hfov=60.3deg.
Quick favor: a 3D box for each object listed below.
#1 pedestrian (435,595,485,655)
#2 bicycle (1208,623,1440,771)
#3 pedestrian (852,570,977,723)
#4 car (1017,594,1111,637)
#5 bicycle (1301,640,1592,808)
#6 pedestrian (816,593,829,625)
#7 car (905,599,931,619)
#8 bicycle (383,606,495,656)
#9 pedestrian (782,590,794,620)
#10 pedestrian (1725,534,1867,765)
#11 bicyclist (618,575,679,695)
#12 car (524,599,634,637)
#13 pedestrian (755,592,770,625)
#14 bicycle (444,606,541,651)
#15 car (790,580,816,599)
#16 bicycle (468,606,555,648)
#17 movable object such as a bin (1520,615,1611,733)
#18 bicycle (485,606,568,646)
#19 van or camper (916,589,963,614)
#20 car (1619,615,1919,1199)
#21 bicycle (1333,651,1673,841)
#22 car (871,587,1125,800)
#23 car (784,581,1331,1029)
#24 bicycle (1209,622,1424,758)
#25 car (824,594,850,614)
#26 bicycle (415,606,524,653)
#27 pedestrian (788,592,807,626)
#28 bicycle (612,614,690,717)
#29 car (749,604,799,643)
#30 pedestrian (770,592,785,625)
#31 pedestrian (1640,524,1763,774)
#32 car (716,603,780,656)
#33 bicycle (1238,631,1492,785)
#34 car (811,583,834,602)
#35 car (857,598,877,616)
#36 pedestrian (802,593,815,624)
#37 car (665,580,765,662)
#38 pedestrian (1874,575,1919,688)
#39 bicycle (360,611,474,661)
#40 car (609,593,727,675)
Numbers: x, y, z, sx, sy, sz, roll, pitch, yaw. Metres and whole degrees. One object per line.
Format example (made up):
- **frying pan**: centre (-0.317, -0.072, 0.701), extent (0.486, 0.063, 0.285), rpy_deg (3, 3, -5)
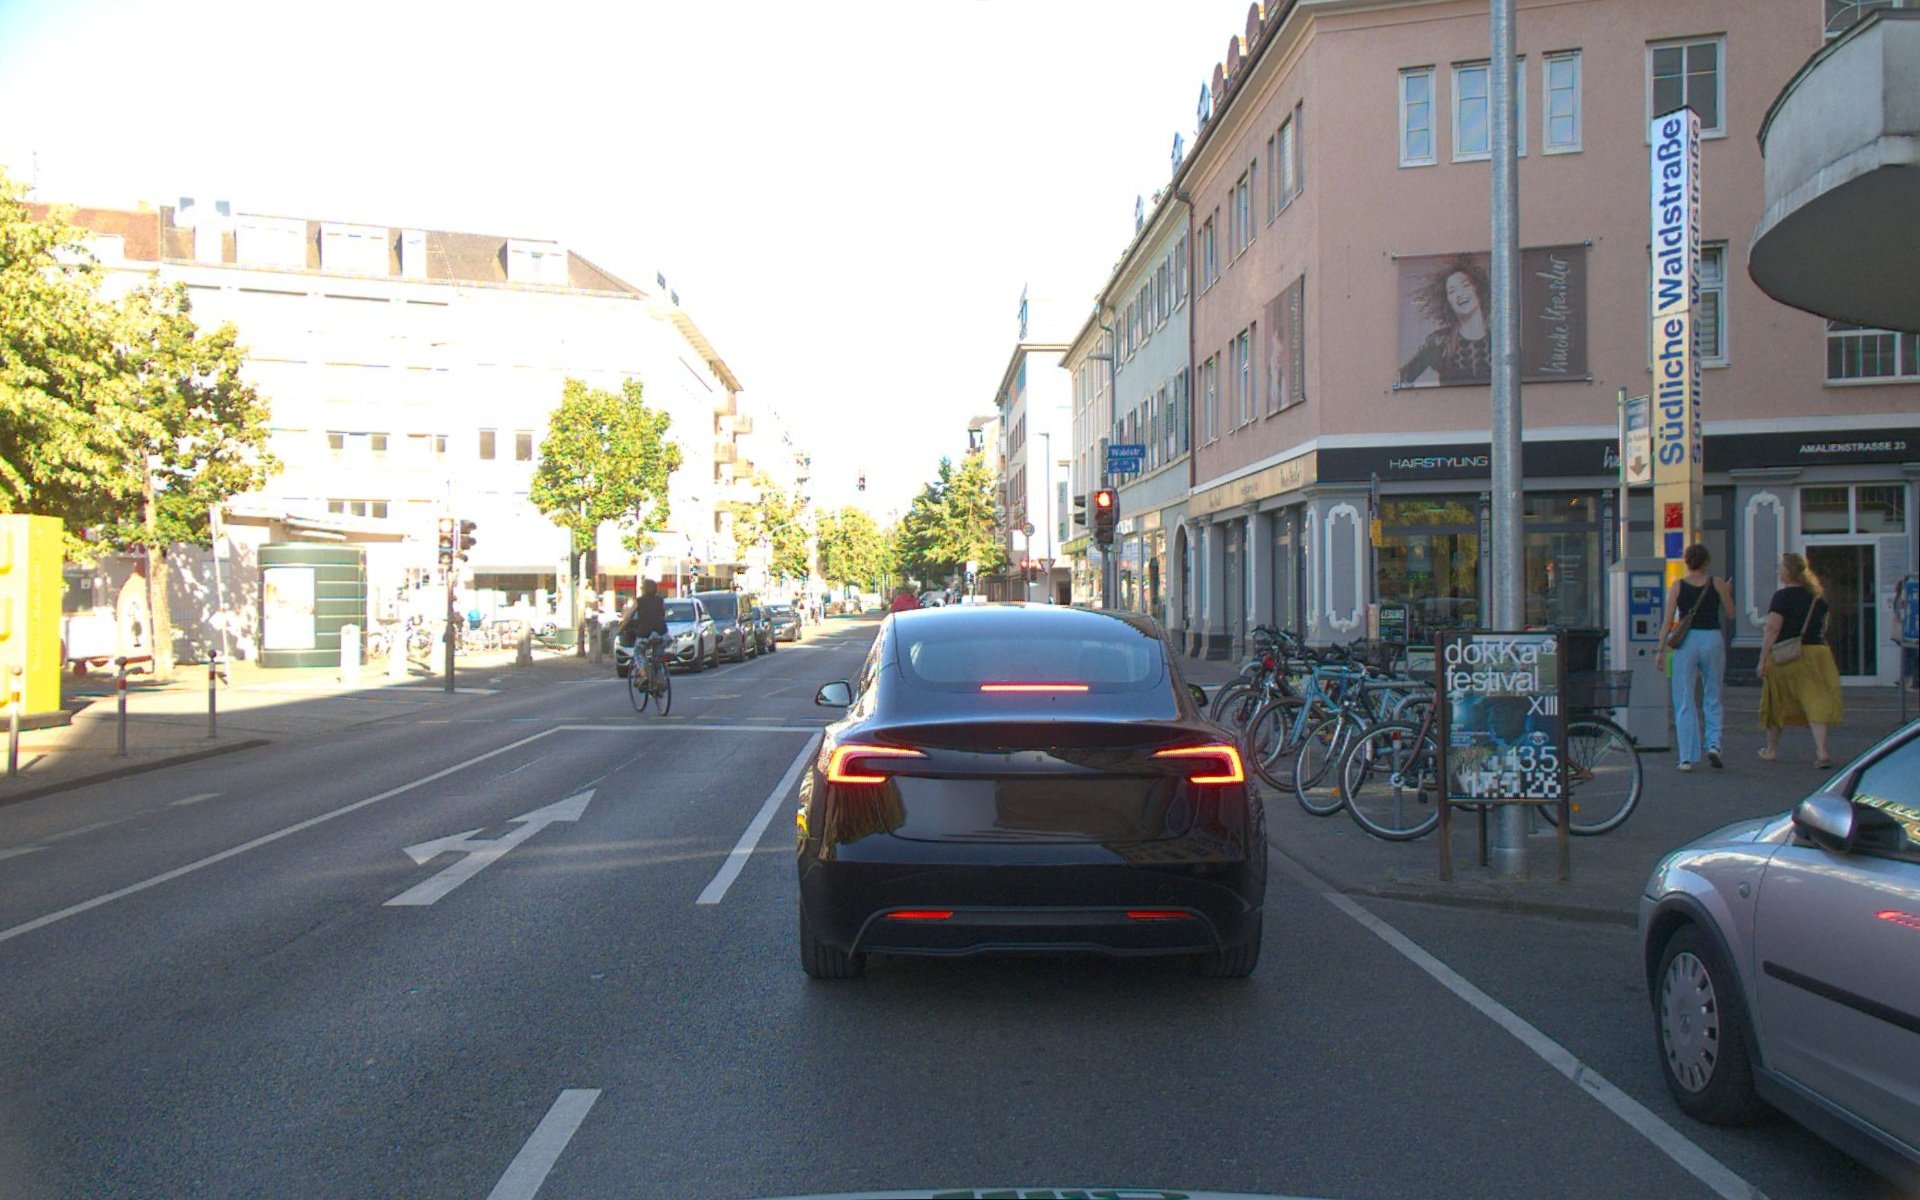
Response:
- **pedestrian**: centre (-14.041, 0.698, 46.466), extent (1.081, 1.639, 1.254), rpy_deg (1, -1, -29)
- **bicycle**: centre (2.978, 0.782, 13.633), extent (1.776, 1.172, 0.653), rpy_deg (0, 0, 0)
- **pedestrian**: centre (-0.534, 0.538, 19.784), extent (1.089, 1.750, 1.060), rpy_deg (1, -1, 30)
- **car**: centre (4.712, 0.703, 74.734), extent (3.937, 1.900, 1.686), rpy_deg (0, 0, -22)
- **bicycle**: centre (3.250, 0.821, 11.156), extent (1.776, 1.078, 0.653), rpy_deg (0, 0, 0)
- **pedestrian**: centre (-8.229, 0.547, 98.901), extent (0.759, 1.900, 1.007), rpy_deg (1, -1, -7)
- **car**: centre (-3.764, 0.785, 148.568), extent (1.992, 1.819, 4.008), rpy_deg (0, 0, 3)
- **bicycle**: centre (-14.124, 0.843, 44.916), extent (2.725, 1.296, 0.932), rpy_deg (1, 0, -4)
- **pedestrian**: centre (-10.767, 0.314, 103.708), extent (0.681, 1.900, 0.658), rpy_deg (1, -1, -6)
- **pedestrian**: centre (6.768, 0.394, 13.431), extent (0.706, 1.785, 0.788), rpy_deg (-2, -1, 4)
- **bicyclist**: centre (-4.046, 0.447, 21.465), extent (0.597, 1.510, 0.952), rpy_deg (1, -1, -22)
- **car**: centre (-17.487, 0.835, 75.962), extent (4.638, 1.455, 1.722), rpy_deg (-4, 0, -25)
- **pedestrian**: centre (-11.562, 0.480, 96.796), extent (0.721, 1.900, 0.787), rpy_deg (1, -1, -17)
- **bicycle**: centre (-14.009, 0.845, 49.636), extent (2.609, 1.281, 0.942), rpy_deg (1, 0, -4)
- **car**: centre (-17.019, -1.127, 179.399), extent (2.228, 2.049, 4.717), rpy_deg (1, 0, 0)
- **bicycle**: centre (-14.061, 0.850, 51.910), extent (2.491, 1.273, 0.942), rpy_deg (1, 0, -4)
- **movable object such as a bin**: centre (6.042, 0.731, 16.535), extent (0.623, 1.122, 0.728), rpy_deg (-2, 0, 3)
- **bicycle**: centre (-14.227, 0.857, 54.332), extent (2.491, 1.273, 0.942), rpy_deg (1, 0, -4)
- **van or camper**: centre (-2.069, 0.173, 167.513), extent (4.752, 2.481, 1.850), rpy_deg (0, 0, -1)
- **car**: centre (2.921, 0.780, 3.531), extent (1.551, 1.451, 3.579), rpy_deg (1, 0, -1)
- **bicycle**: centre (3.279, 0.874, 10.084), extent (1.844, 1.062, 0.653), rpy_deg (-1, 0, 0)
- **car**: centre (0.243, 0.685, 14.189), extent (1.812, 1.507, 4.450), rpy_deg (1, 0, -1)
- **car**: centre (0.300, 0.699, 7.765), extent (1.812, 1.472, 4.450), rpy_deg (1, 0, -1)
- **bicycle**: centre (3.162, 0.791, 14.770), extent (1.776, 1.172, 0.653), rpy_deg (0, 0, 0)
- **car**: centre (-12.346, 0.397, 166.256), extent (2.365, 2.004, 4.677), rpy_deg (0, 0, -1)
- **bicycle**: centre (-14.000, 0.830, 47.318), extent (2.818, 1.292, 0.942), rpy_deg (1, 0, -4)
- **pedestrian**: centre (-9.275, 0.510, 94.479), extent (0.719, 1.900, 0.790), rpy_deg (1, -1, 28)
- **bicycle**: centre (-4.008, 0.812, 21.365), extent (0.619, 1.244, 1.987), rpy_deg (0, 0, -22)
- **car**: centre (-7.061, 0.877, 63.175), extent (1.660, 1.414, 3.913), rpy_deg (1, 0, -3)
- **pedestrian**: centre (-10.741, 0.496, 97.098), extent (0.721, 1.900, 0.787), rpy_deg (1, -1, -17)
- **pedestrian**: centre (5.853, 0.378, 13.107), extent (0.666, 1.882, 0.894), rpy_deg (-4, -1, 16)
- **car**: centre (-6.335, 0.854, 49.685), extent (1.431, 1.455, 3.605), rpy_deg (-3, 0, -1)
- **bicycle**: centre (3.050, 0.804, 12.560), extent (1.776, 1.121, 0.653), rpy_deg (0, 0, 0)
- **car**: centre (-15.603, -0.815, 188.055), extent (2.228, 2.049, 4.717), rpy_deg (1, 0, 0)
- **car**: centre (-10.503, 0.831, 186.960), extent (2.089, 2.004, 4.133), rpy_deg (0, 0, -1)
- **pedestrian**: centre (-9.392, 0.541, 102.413), extent (0.682, 1.900, 0.907), rpy_deg (1, -1, -11)
- **car**: centre (-6.231, 0.506, 42.558), extent (1.906, 1.981, 4.819), rpy_deg (0, 0, -1)
- **pedestrian**: centre (13.382, 0.439, 23.454), extent (0.707, 1.576, 0.791), rpy_deg (1, -1, 28)
- **bicycle**: centre (-13.949, 0.925, 42.579), extent (2.607, 1.216, 0.942), rpy_deg (1, 0, -4)
- **car**: centre (-6.323, 0.710, 36.230), extent (1.788, 1.592, 4.299), rpy_deg (-3, 0, -1)
